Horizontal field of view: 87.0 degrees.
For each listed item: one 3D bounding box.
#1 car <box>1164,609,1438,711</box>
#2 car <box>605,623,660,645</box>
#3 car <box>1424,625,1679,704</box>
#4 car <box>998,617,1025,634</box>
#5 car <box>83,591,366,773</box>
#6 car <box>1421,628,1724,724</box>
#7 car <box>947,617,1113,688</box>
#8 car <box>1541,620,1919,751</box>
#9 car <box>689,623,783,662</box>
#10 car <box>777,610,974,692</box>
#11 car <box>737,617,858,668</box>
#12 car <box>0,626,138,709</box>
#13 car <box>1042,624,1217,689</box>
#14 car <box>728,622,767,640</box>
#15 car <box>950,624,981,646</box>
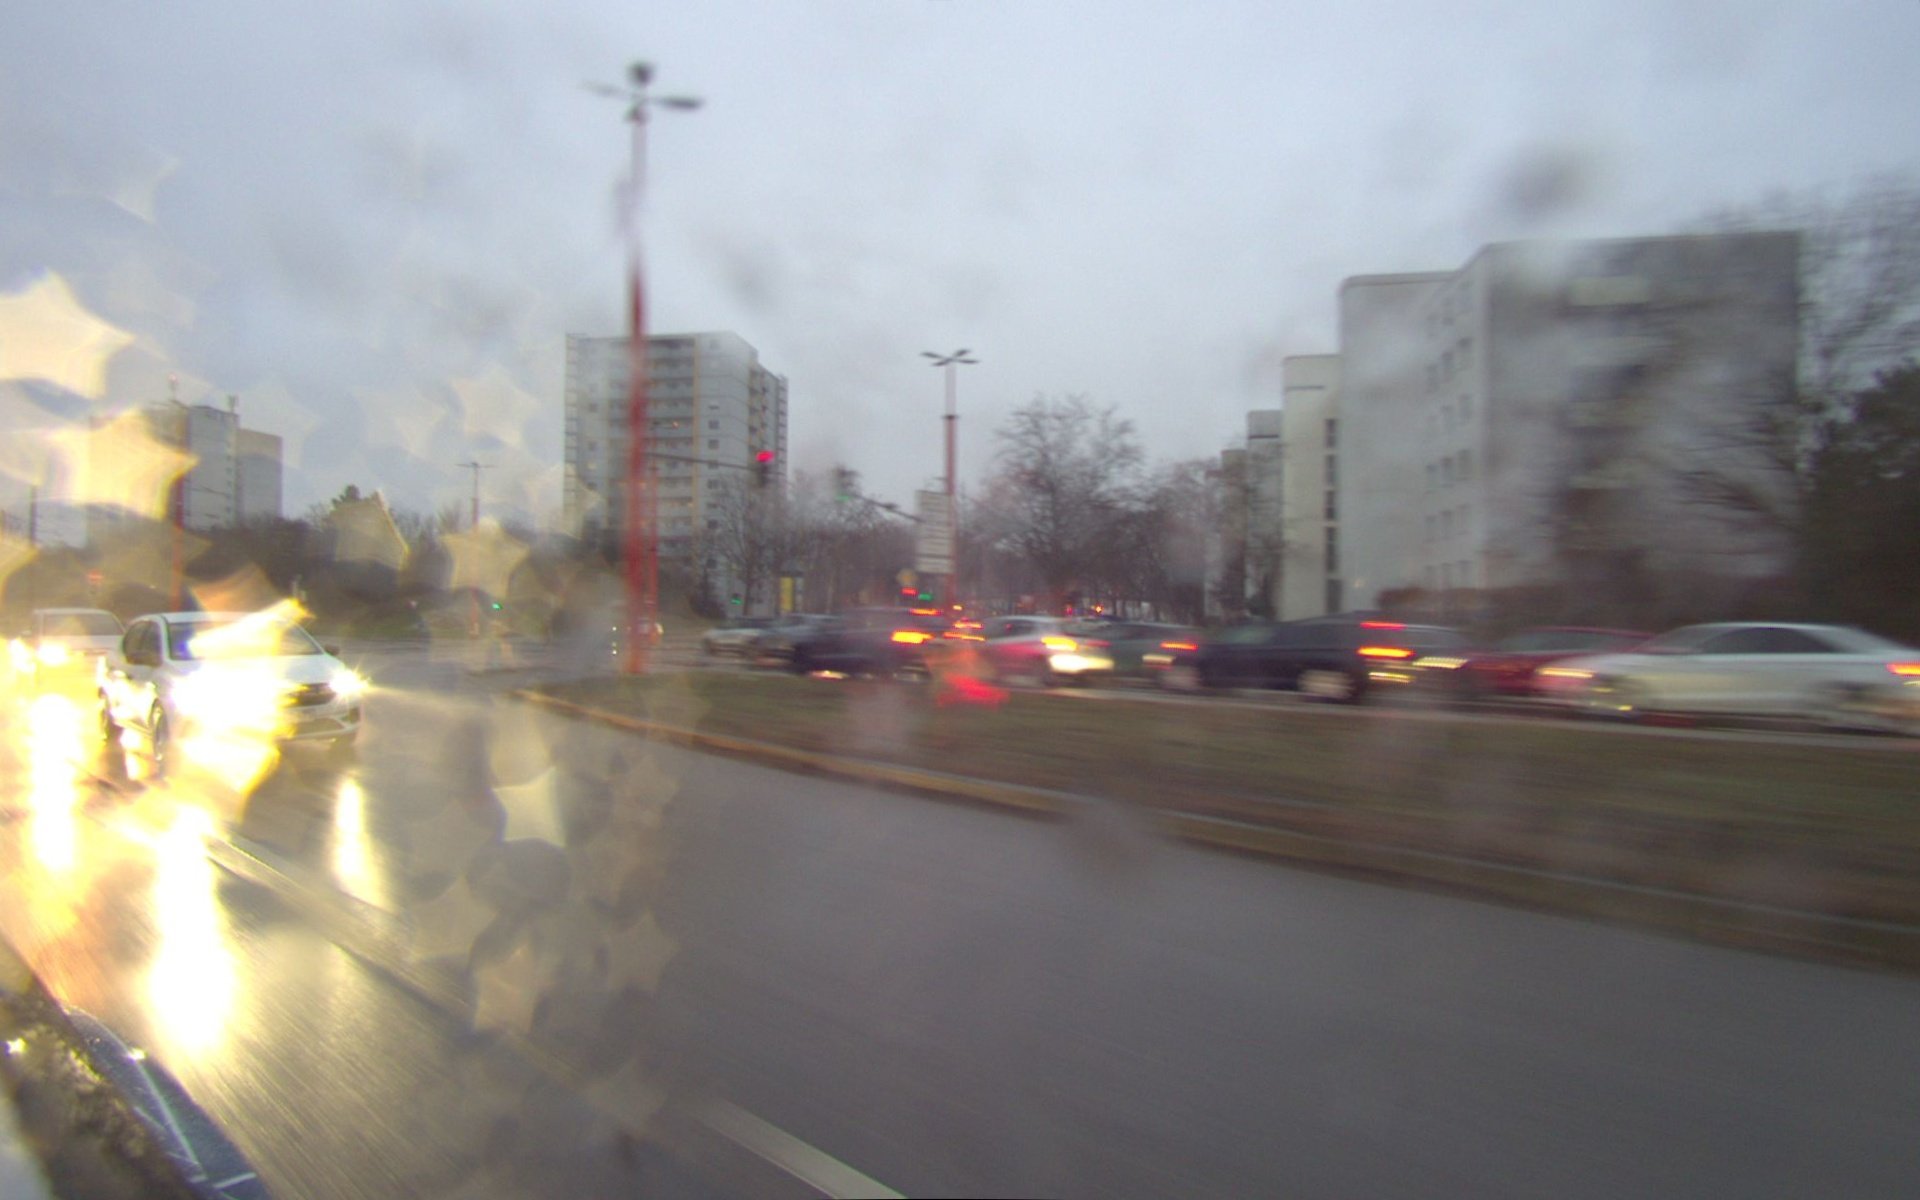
[{"bbox_3d":[6.001,0.998,18.101,4.285,1.611,1.837,-1,-2,41],"label":"car"},{"bbox_3d":[-24.307,2.528,75.331,1.834,1.556,4.419,0,-1,15],"label":"car"},{"bbox_3d":[12.475,1.284,21.516,4.437,1.506,1.751,-1,-2,41],"label":"car"},{"bbox_3d":[4.831,2.405,94.349,1.978,1.541,4.470,0,-1,10],"label":"car"},{"bbox_3d":[-8.290,0.778,11.266,4.145,1.660,1.696,-1,-1,42],"label":"car"},{"bbox_3d":[10.914,1.263,18.222,4.437,1.506,1.751,-1,-2,41],"label":"car"},{"bbox_3d":[1.499,1.100,22.220,3.324,1.431,1.635,-1,-2,41],"label":"car"},{"bbox_3d":[10.648,1.054,13.761,4.523,1.545,1.751,-1,-2,41],"label":"car"},{"bbox_3d":[-9.042,1.668,40.743,4.014,1.506,1.602,-1,-2,41],"label":"car"},{"bbox_3d":[-1.854,1.034,21.705,4.074,1.594,1.839,-1,-2,38],"label":"car"},{"bbox_3d":[-5.286,1.340,32.794,3.944,1.565,1.751,-1,-2,41],"label":"car"},{"bbox_3d":[-19.241,1.378,21.807,4.187,1.551,1.672,-1,0,41],"label":"car"},{"bbox_3d":[4.002,1.296,24.309,3.907,1.438,1.604,-1,-2,41],"label":"car"},{"bbox_3d":[-18.484,2.671,88.196,1.696,1.556,3.981,0,-2,15],"label":"car"},{"bbox_3d":[0.452,2.524,73.960,1.974,1.541,4.592,0,-1,4],"label":"car"}]
